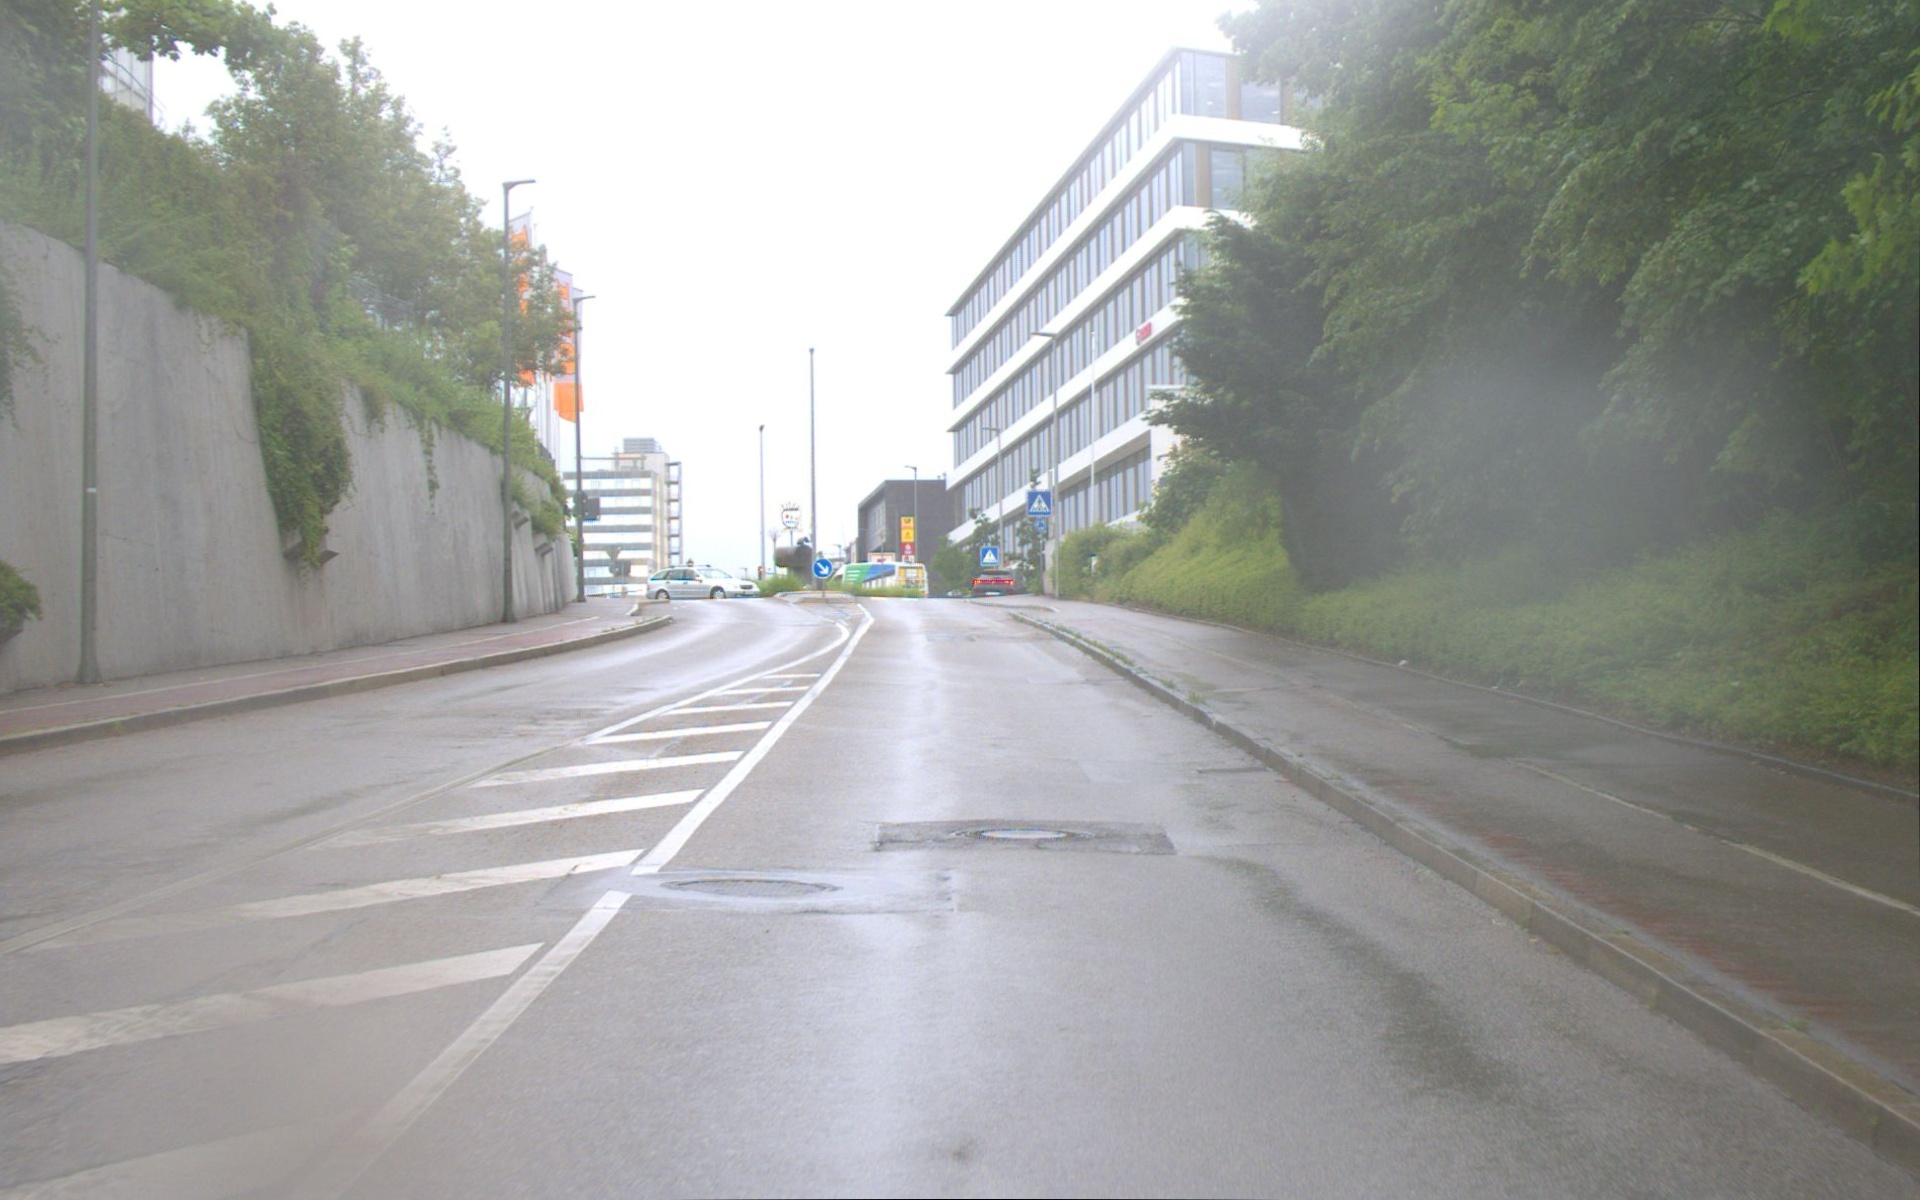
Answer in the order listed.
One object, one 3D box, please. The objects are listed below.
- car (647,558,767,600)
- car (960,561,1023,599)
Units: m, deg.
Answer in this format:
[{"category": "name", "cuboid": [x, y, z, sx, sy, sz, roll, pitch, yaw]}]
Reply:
[{"category": "car", "cuboid": [-9.152, -0.753, 124.320, 4.245, 1.357, 1.642, 3, 0, 37]}, {"category": "car", "cuboid": [1.164, -0.764, 129.281, 1.794, 1.405, 4.217, 0, 1, -7]}]
